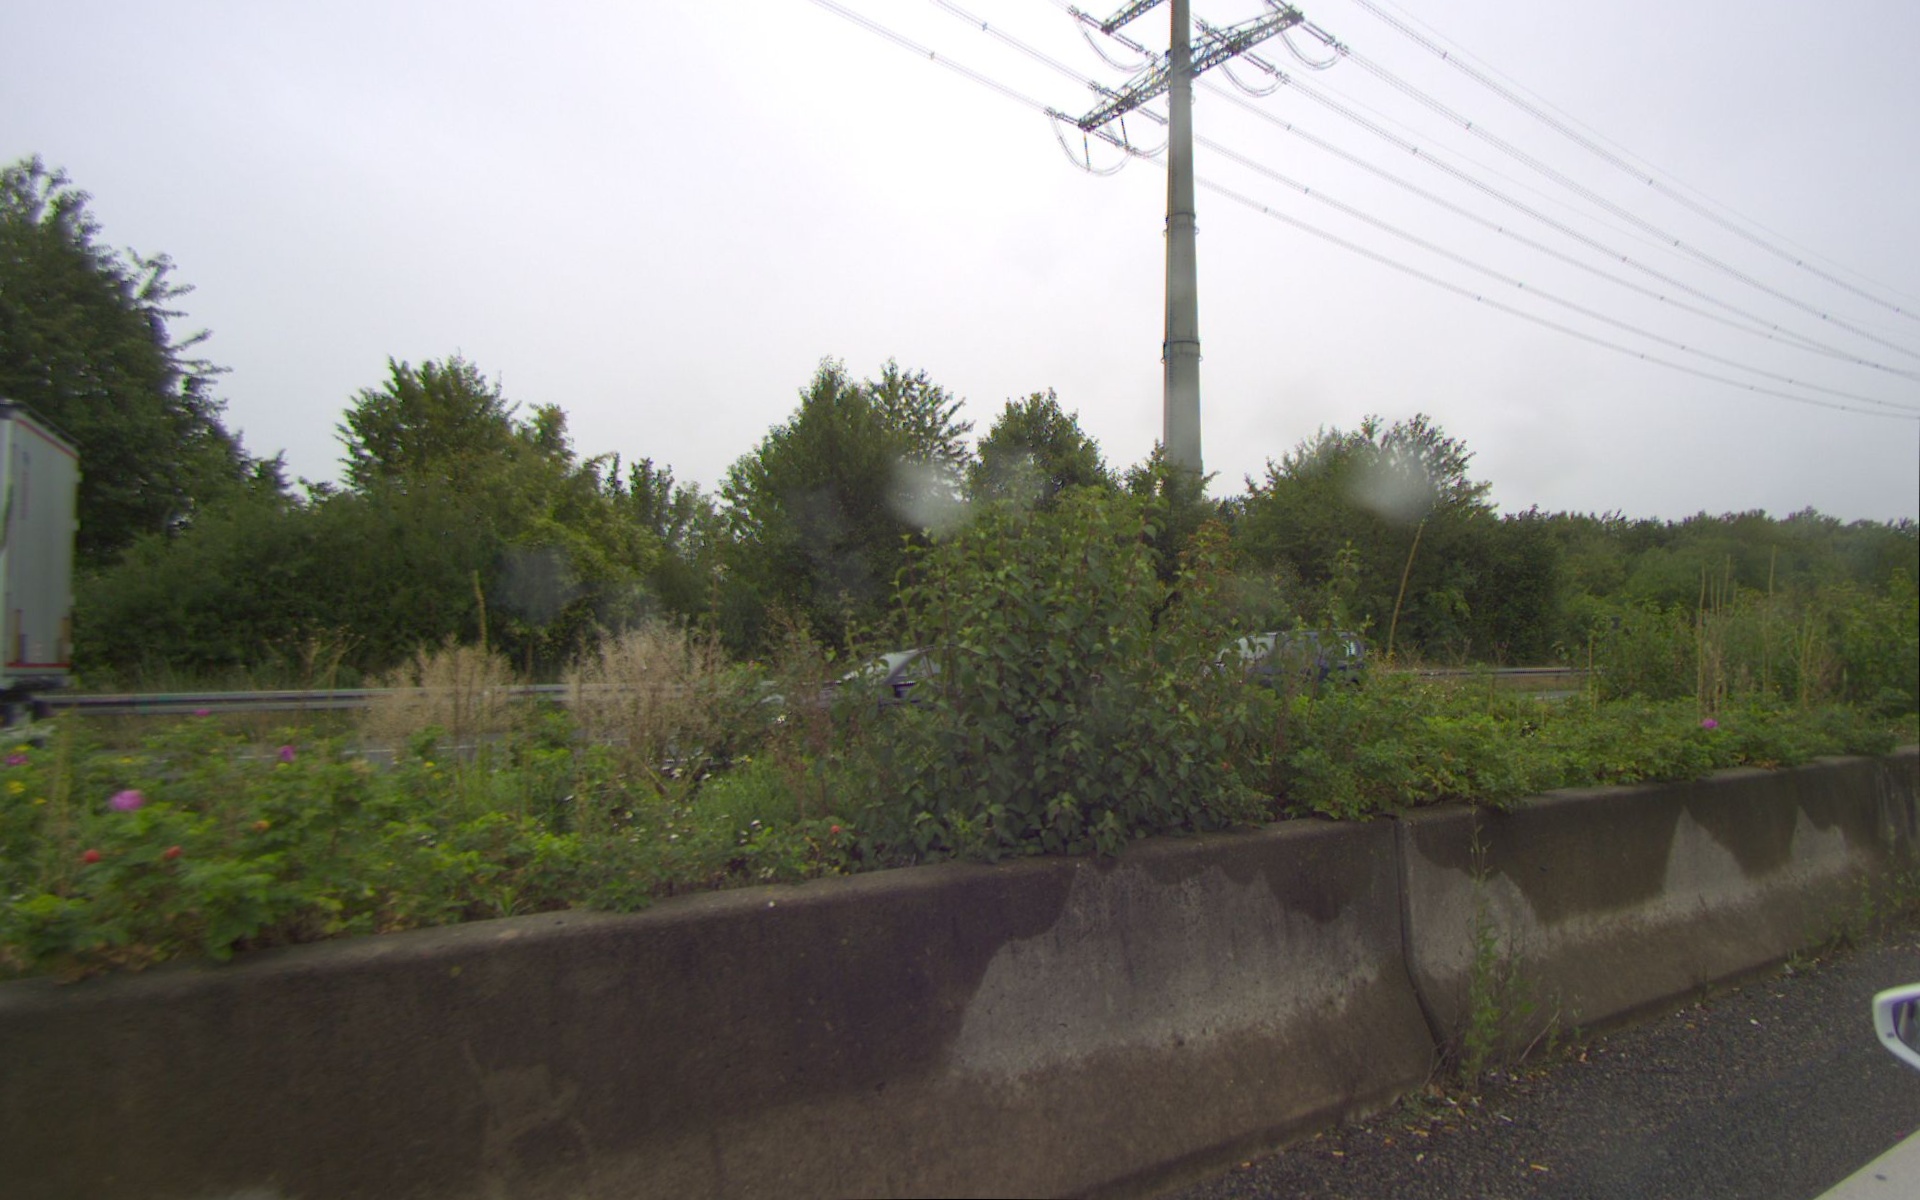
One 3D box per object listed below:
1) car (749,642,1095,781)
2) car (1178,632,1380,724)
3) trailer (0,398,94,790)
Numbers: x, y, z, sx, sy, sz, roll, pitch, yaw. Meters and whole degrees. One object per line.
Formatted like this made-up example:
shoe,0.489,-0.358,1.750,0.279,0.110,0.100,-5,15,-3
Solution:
car,-0.430,1.267,12.500,3.953,1.468,1.784,2,-2,-30
car,6.808,1.590,21.407,3.953,1.771,1.984,2,-2,-30
trailer,-16.122,-0.147,8.339,13.099,4.076,2.772,2,-4,-31
